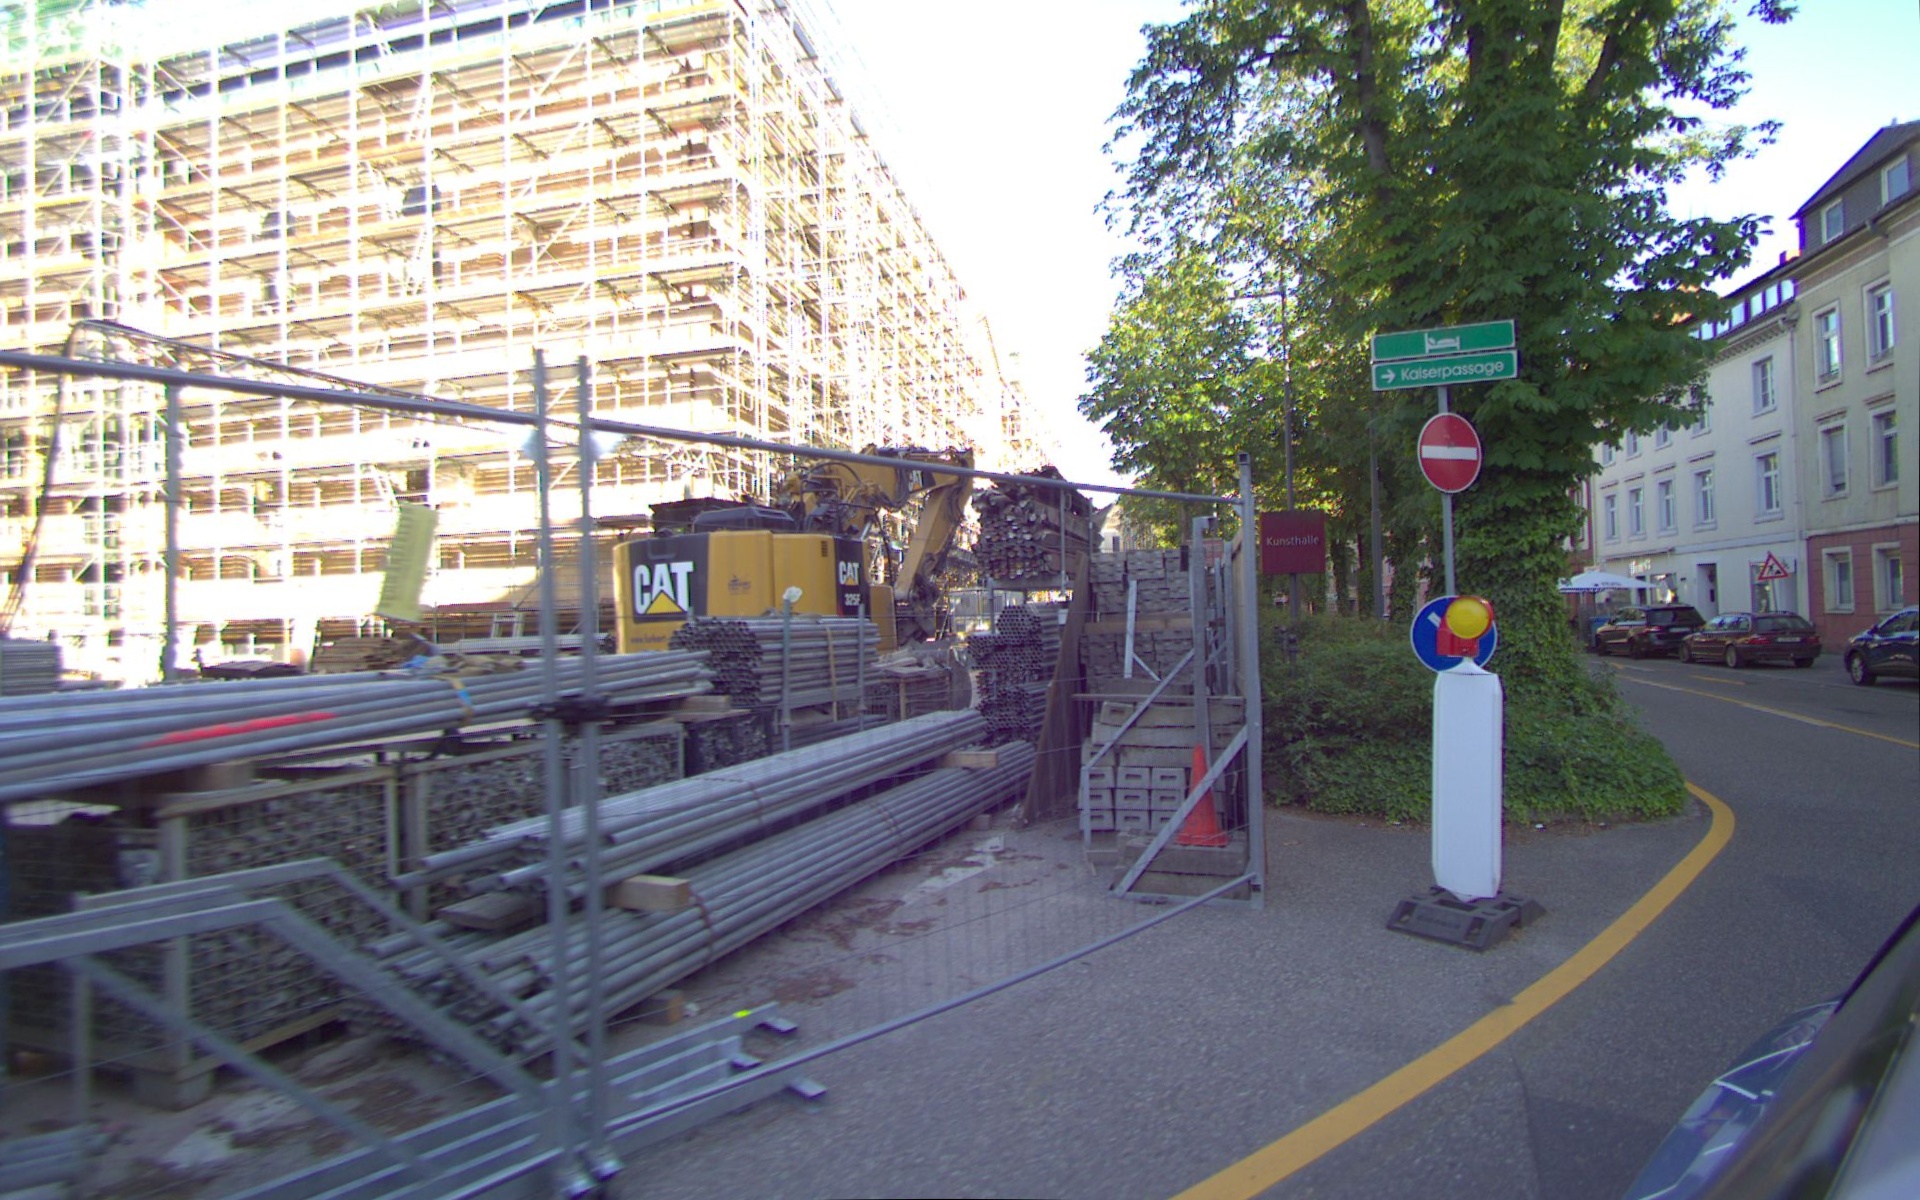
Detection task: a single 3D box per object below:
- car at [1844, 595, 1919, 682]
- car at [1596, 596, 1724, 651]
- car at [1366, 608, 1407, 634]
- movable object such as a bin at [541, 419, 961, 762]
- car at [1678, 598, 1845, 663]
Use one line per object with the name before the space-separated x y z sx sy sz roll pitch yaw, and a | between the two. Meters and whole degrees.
car | 18.631 0.684 18.719 1.782 1.591 4.132 -2 -1 16
car | 22.223 0.735 32.342 1.792 1.591 4.371 -2 -1 13
car | 25.451 1.226 60.484 1.794 1.483 3.979 0 -1 16
movable object such as a bin | -2.319 -0.040 12.517 3.137 3.343 4.350 -2 -1 24
car | 21.153 0.792 26.938 1.745 1.507 4.176 -4 -2 13
